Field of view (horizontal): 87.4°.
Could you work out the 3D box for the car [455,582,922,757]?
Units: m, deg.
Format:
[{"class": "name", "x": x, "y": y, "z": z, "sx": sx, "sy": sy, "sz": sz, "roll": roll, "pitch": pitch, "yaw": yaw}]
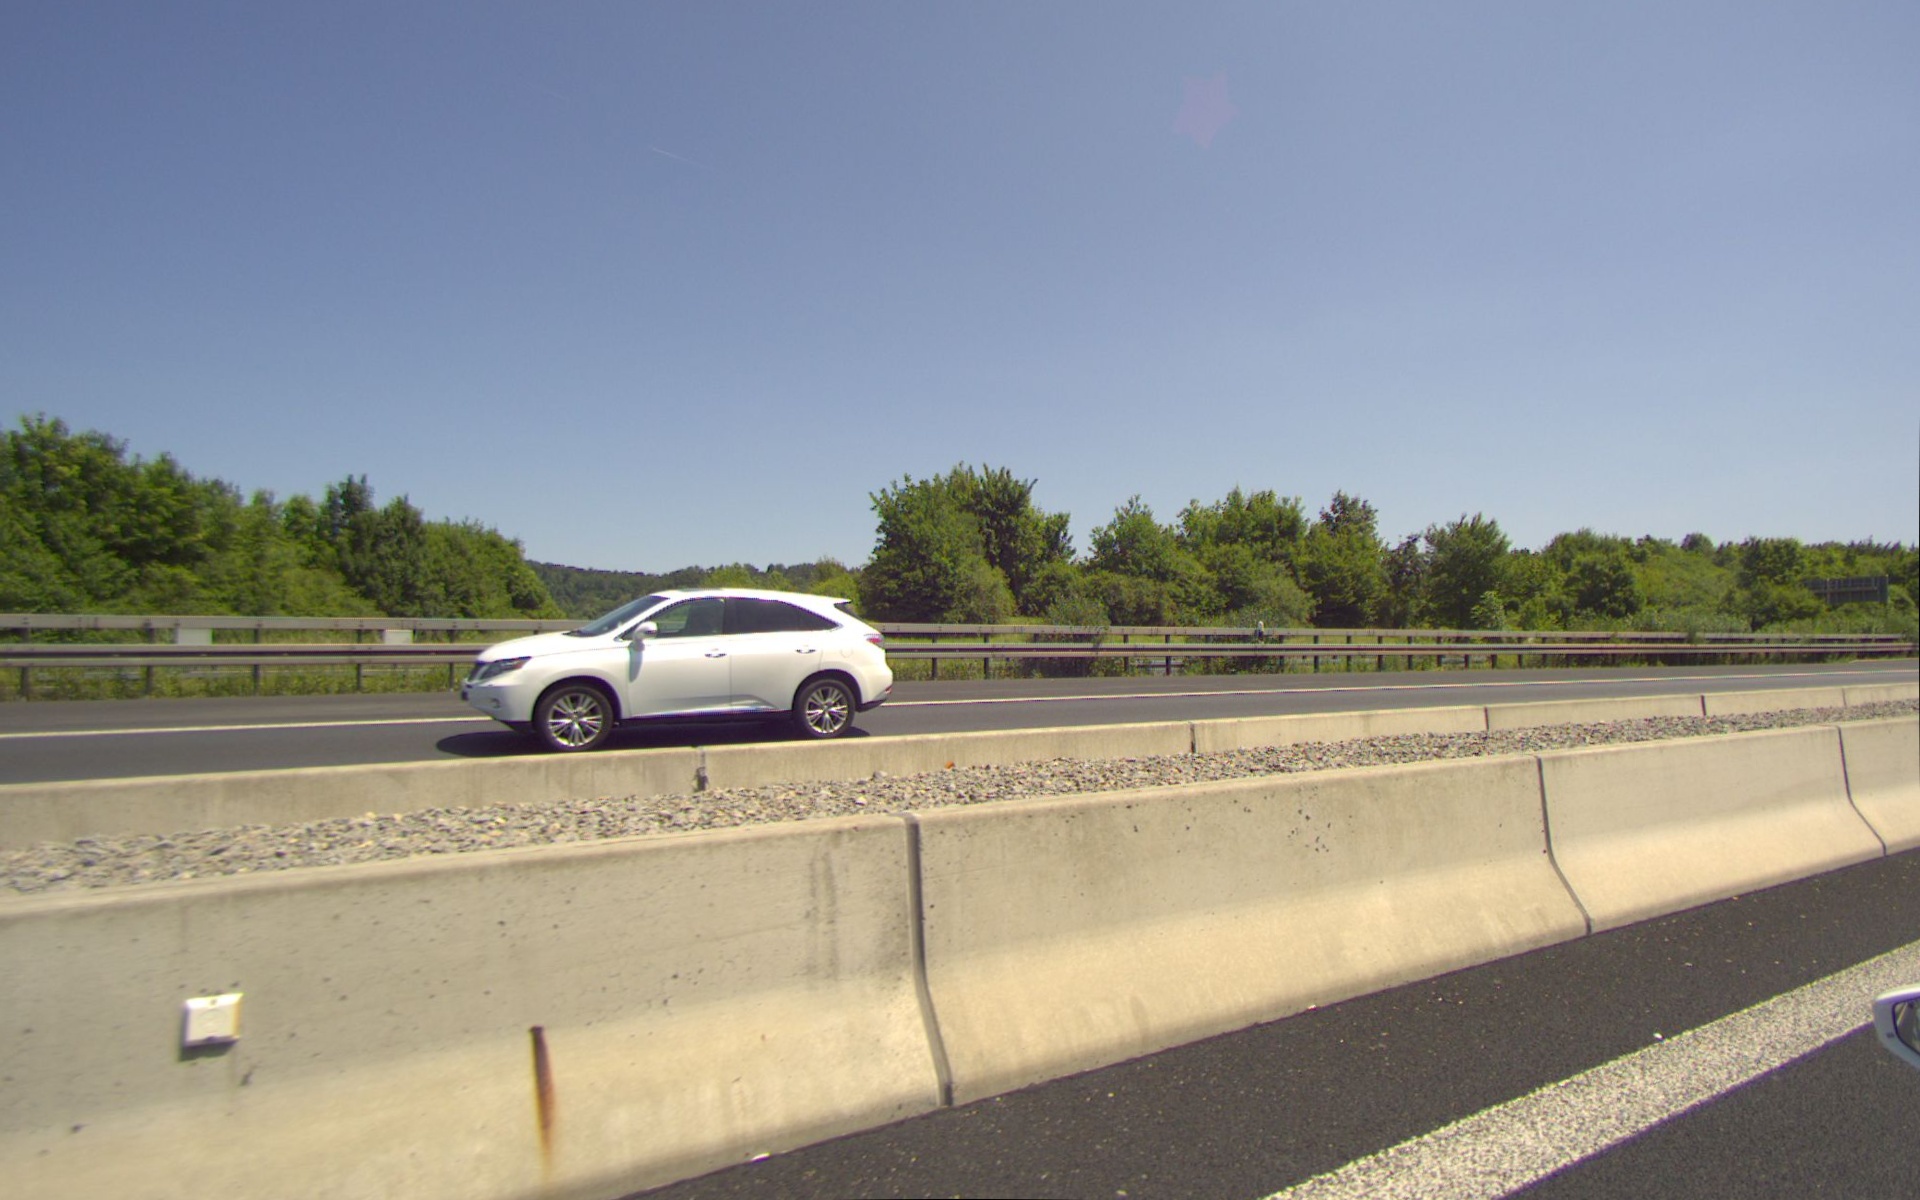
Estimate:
[{"class": "car", "x": -3.003, "y": 0.708, "z": 11.513, "sx": 4.872, "sy": 1.654, "sz": 1.779, "roll": 1, "pitch": 0, "yaw": -30}]
